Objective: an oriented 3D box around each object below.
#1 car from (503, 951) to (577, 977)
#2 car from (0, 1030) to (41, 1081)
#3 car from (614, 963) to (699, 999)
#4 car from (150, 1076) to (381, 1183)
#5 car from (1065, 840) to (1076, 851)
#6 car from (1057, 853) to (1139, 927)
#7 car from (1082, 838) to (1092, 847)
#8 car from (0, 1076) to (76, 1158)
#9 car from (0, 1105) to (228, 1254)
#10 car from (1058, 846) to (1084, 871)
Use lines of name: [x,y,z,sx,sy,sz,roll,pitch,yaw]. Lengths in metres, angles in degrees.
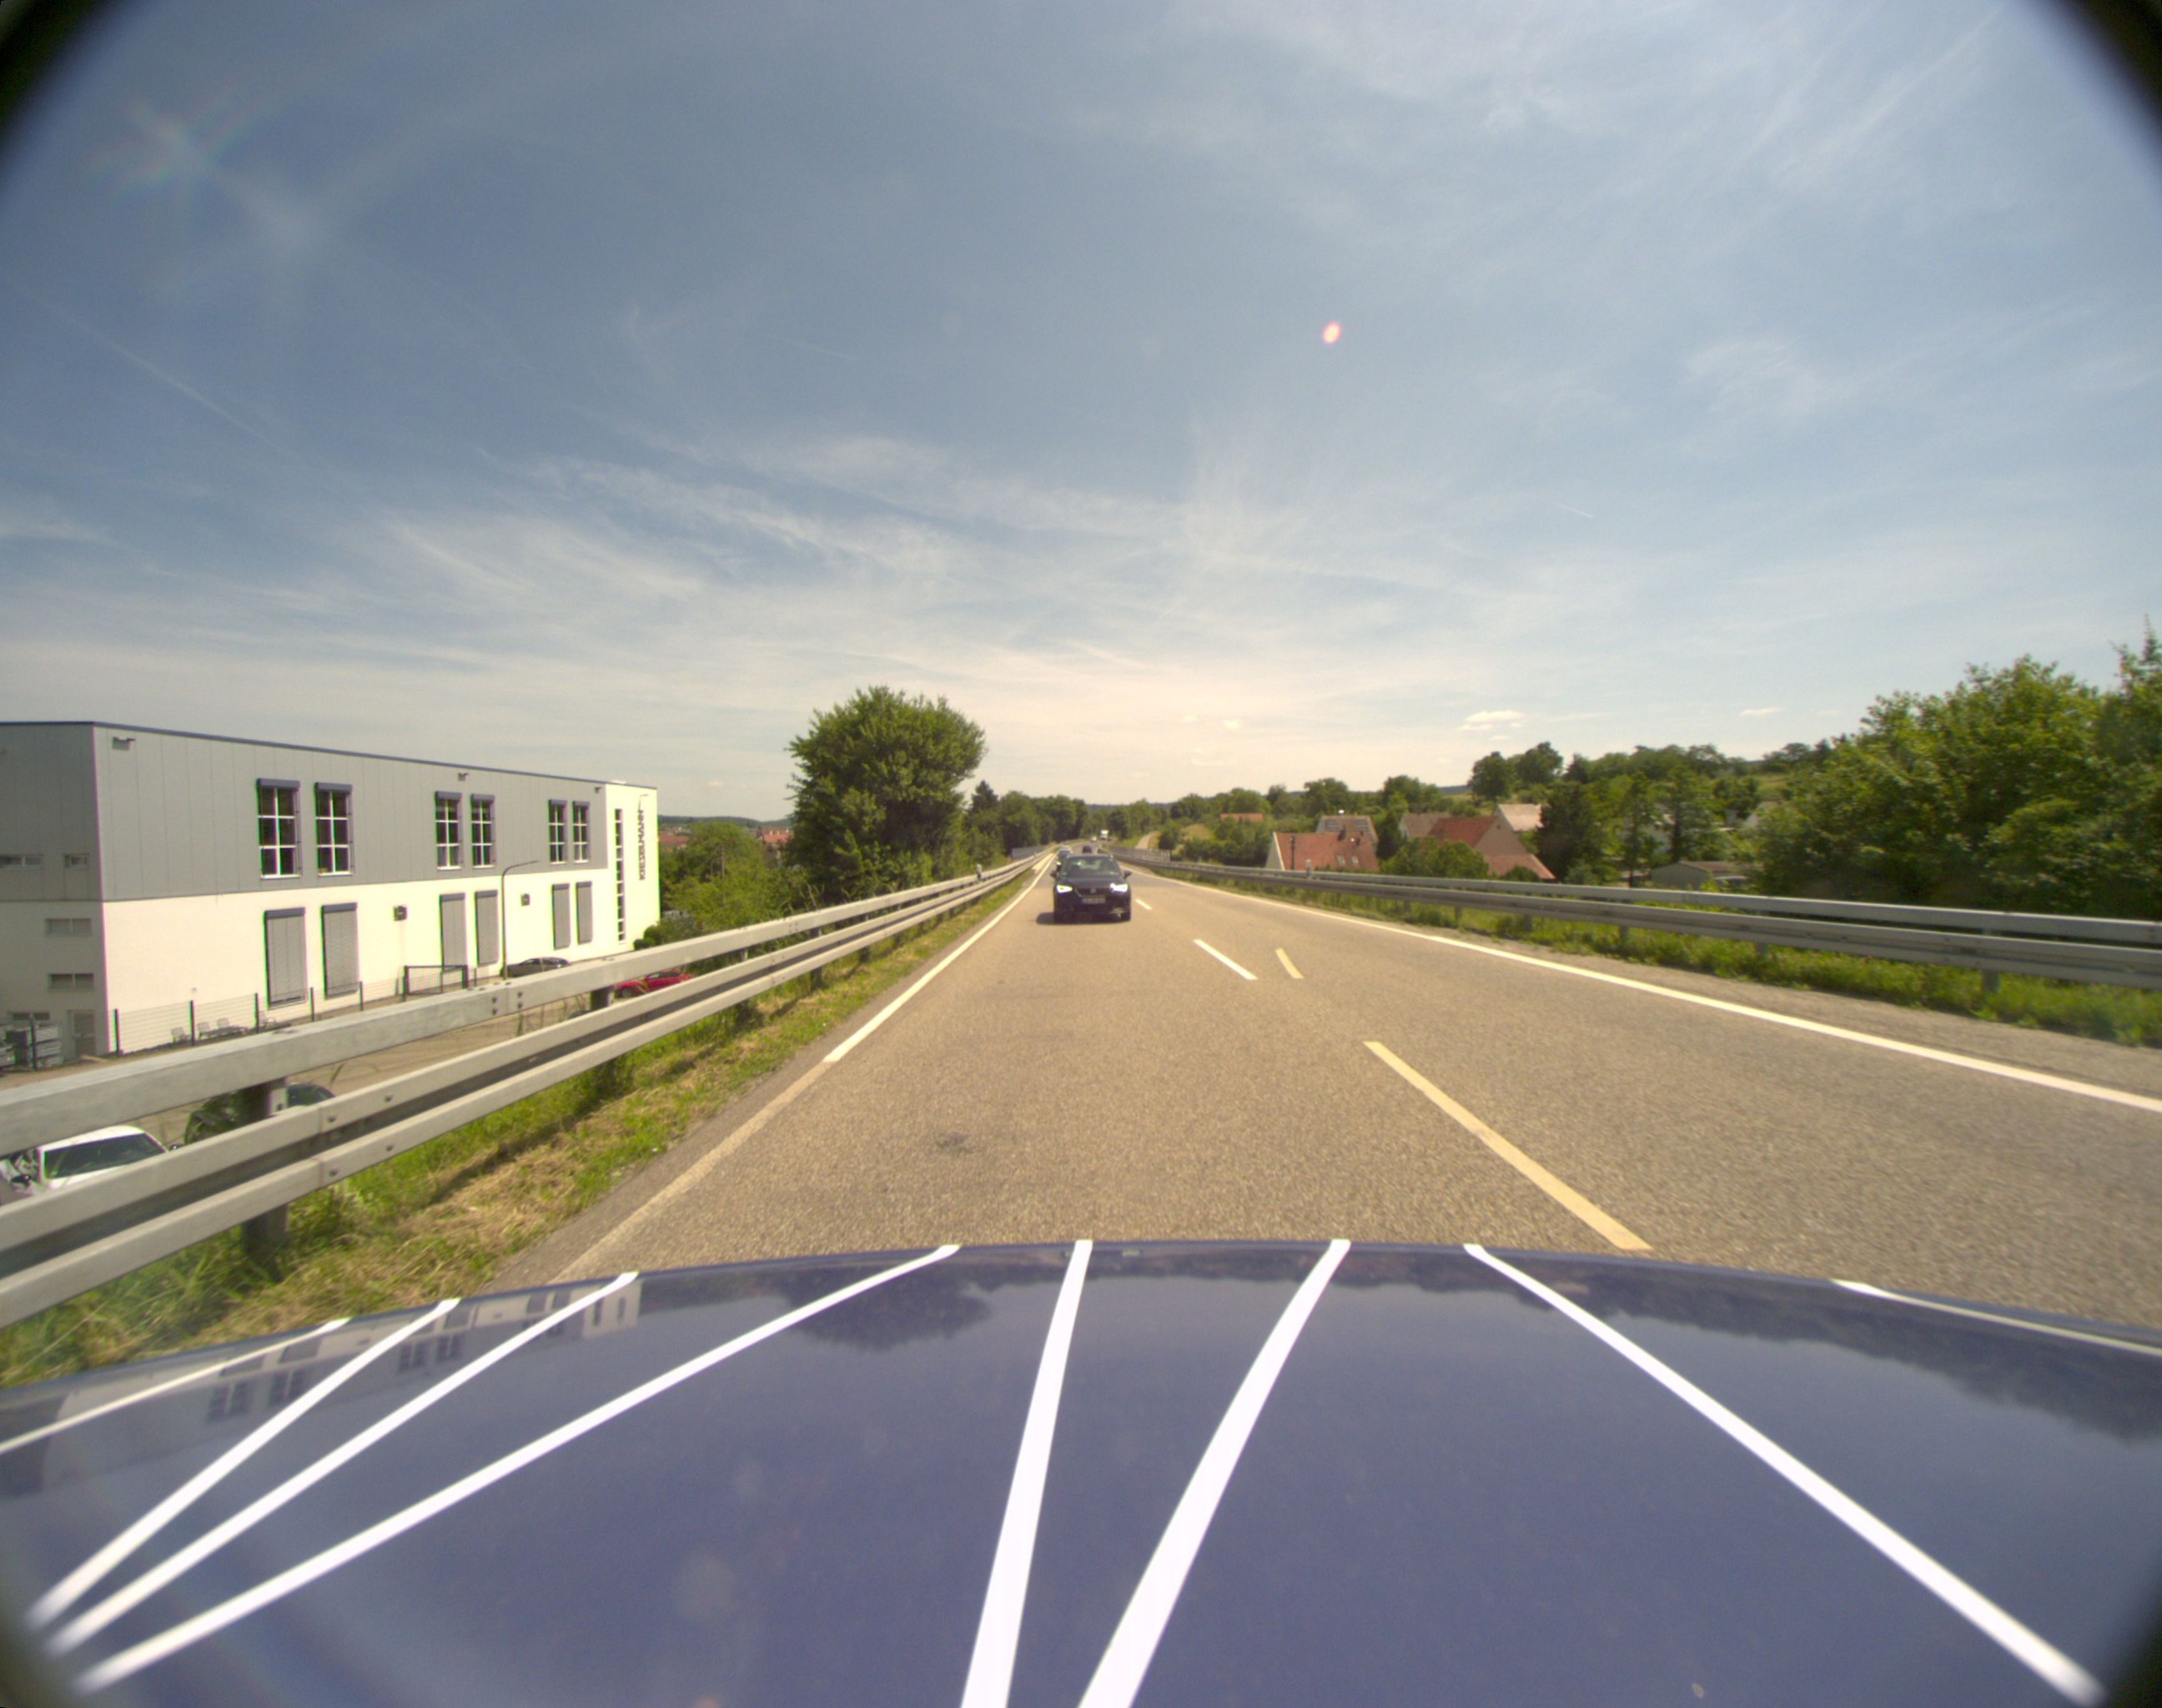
car: [-40.412,8.189,56.848,4.048,1.562,1.912,3,-2,-2]
car: [-39.353,7.044,26.231,4.048,1.562,1.912,0,-2,-2]
car: [-26.228,7.815,47.048,4.417,1.436,1.787,-5,-2,-30]
car: [-17.337,5.751,16.155,4.402,1.533,1.793,-7,-2,22]
car: [-1.824,-1.432,130.022,1.879,1.637,4.002,1,-3,0]
car: [0.306,0.767,18.210,1.738,1.468,3.998,0,2,-2]
car: [1.144,-2.203,144.894,1.870,1.602,4.371,0,1,-1]
car: [-26.025,6.221,16.657,4.417,1.436,1.787,-5,-2,-30]
car: [-17.630,5.600,13.442,4.402,1.652,1.902,-7,-2,22]
car: [-0.772,0.366,58.028,1.879,1.637,4.002,1,-3,0]
